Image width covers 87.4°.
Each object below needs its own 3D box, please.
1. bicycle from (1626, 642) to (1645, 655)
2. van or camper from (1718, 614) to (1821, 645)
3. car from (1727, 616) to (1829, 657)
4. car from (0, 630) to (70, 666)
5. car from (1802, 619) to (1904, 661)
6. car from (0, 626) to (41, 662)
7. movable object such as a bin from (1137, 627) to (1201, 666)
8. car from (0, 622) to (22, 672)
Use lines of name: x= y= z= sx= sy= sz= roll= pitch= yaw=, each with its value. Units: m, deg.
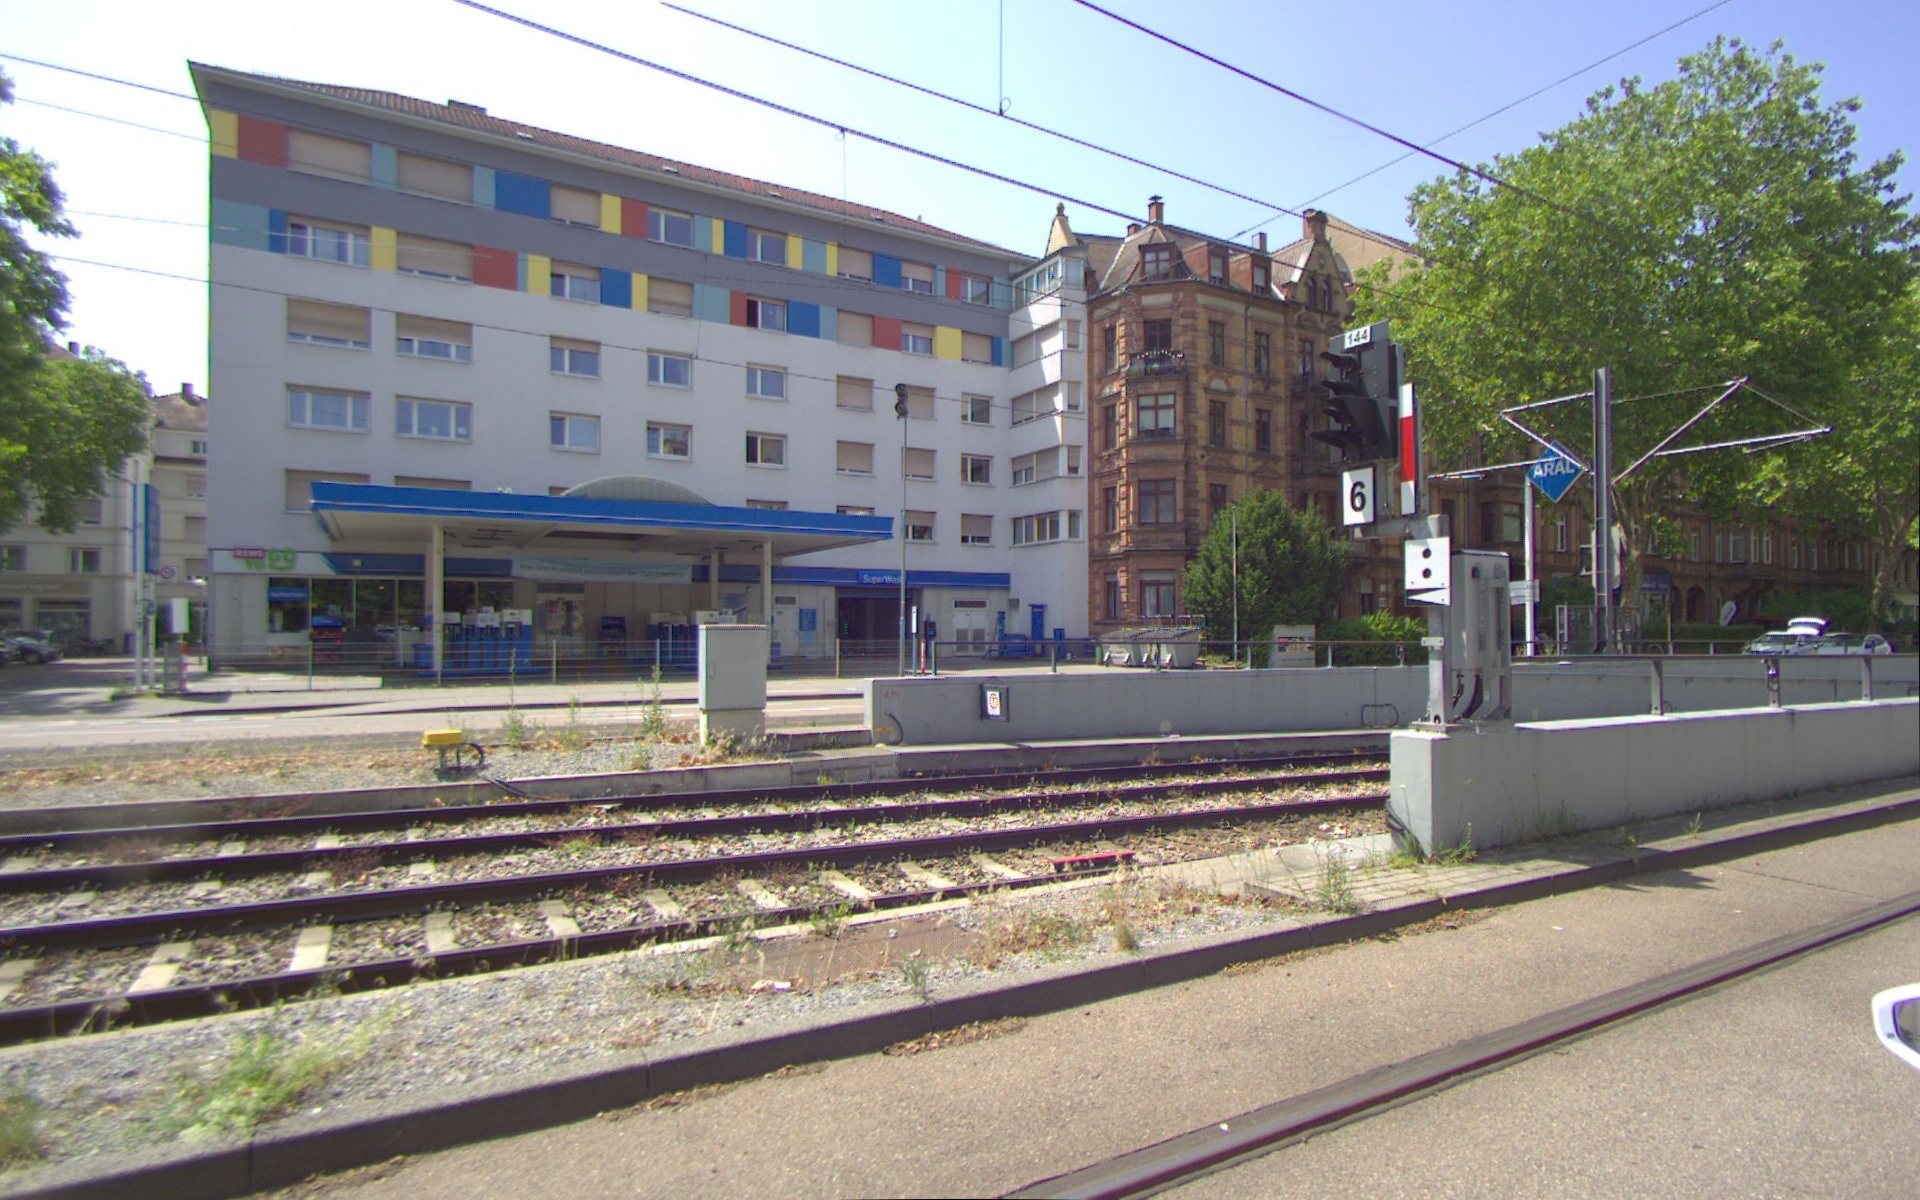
bicycle: x=33.149 y=2.374 z=49.267 sx=1.329 sy=0.659 sz=0.278 roll=1 pitch=-1 yaw=-32
van or camper: x=49.335 y=1.780 z=61.321 sx=1.905 sy=1.861 sz=4.532 roll=1 pitch=-1 yaw=-24
car: x=34.870 y=1.534 z=42.792 sx=4.664 sy=1.646 sz=1.983 roll=1 pitch=-1 yaw=-31
car: x=-45.216 y=2.273 z=47.806 sx=3.954 sy=1.632 sz=1.984 roll=1 pitch=-2 yaw=-31
car: x=34.993 y=1.532 z=39.365 sx=3.824 sy=1.582 sz=1.540 roll=1 pitch=-1 yaw=-24
car: x=-42.923 y=1.930 z=43.821 sx=3.959 sy=1.568 sz=1.653 roll=1 pitch=-2 yaw=-34
movable object such as a bin: x=7.586 y=1.671 z=36.536 sx=1.453 sy=1.403 sz=1.773 roll=1 pitch=-2 yaw=-32
car: x=-41.634 y=1.928 z=40.687 sx=5.057 sy=2.017 sz=1.904 roll=1 pitch=-2 yaw=-36
